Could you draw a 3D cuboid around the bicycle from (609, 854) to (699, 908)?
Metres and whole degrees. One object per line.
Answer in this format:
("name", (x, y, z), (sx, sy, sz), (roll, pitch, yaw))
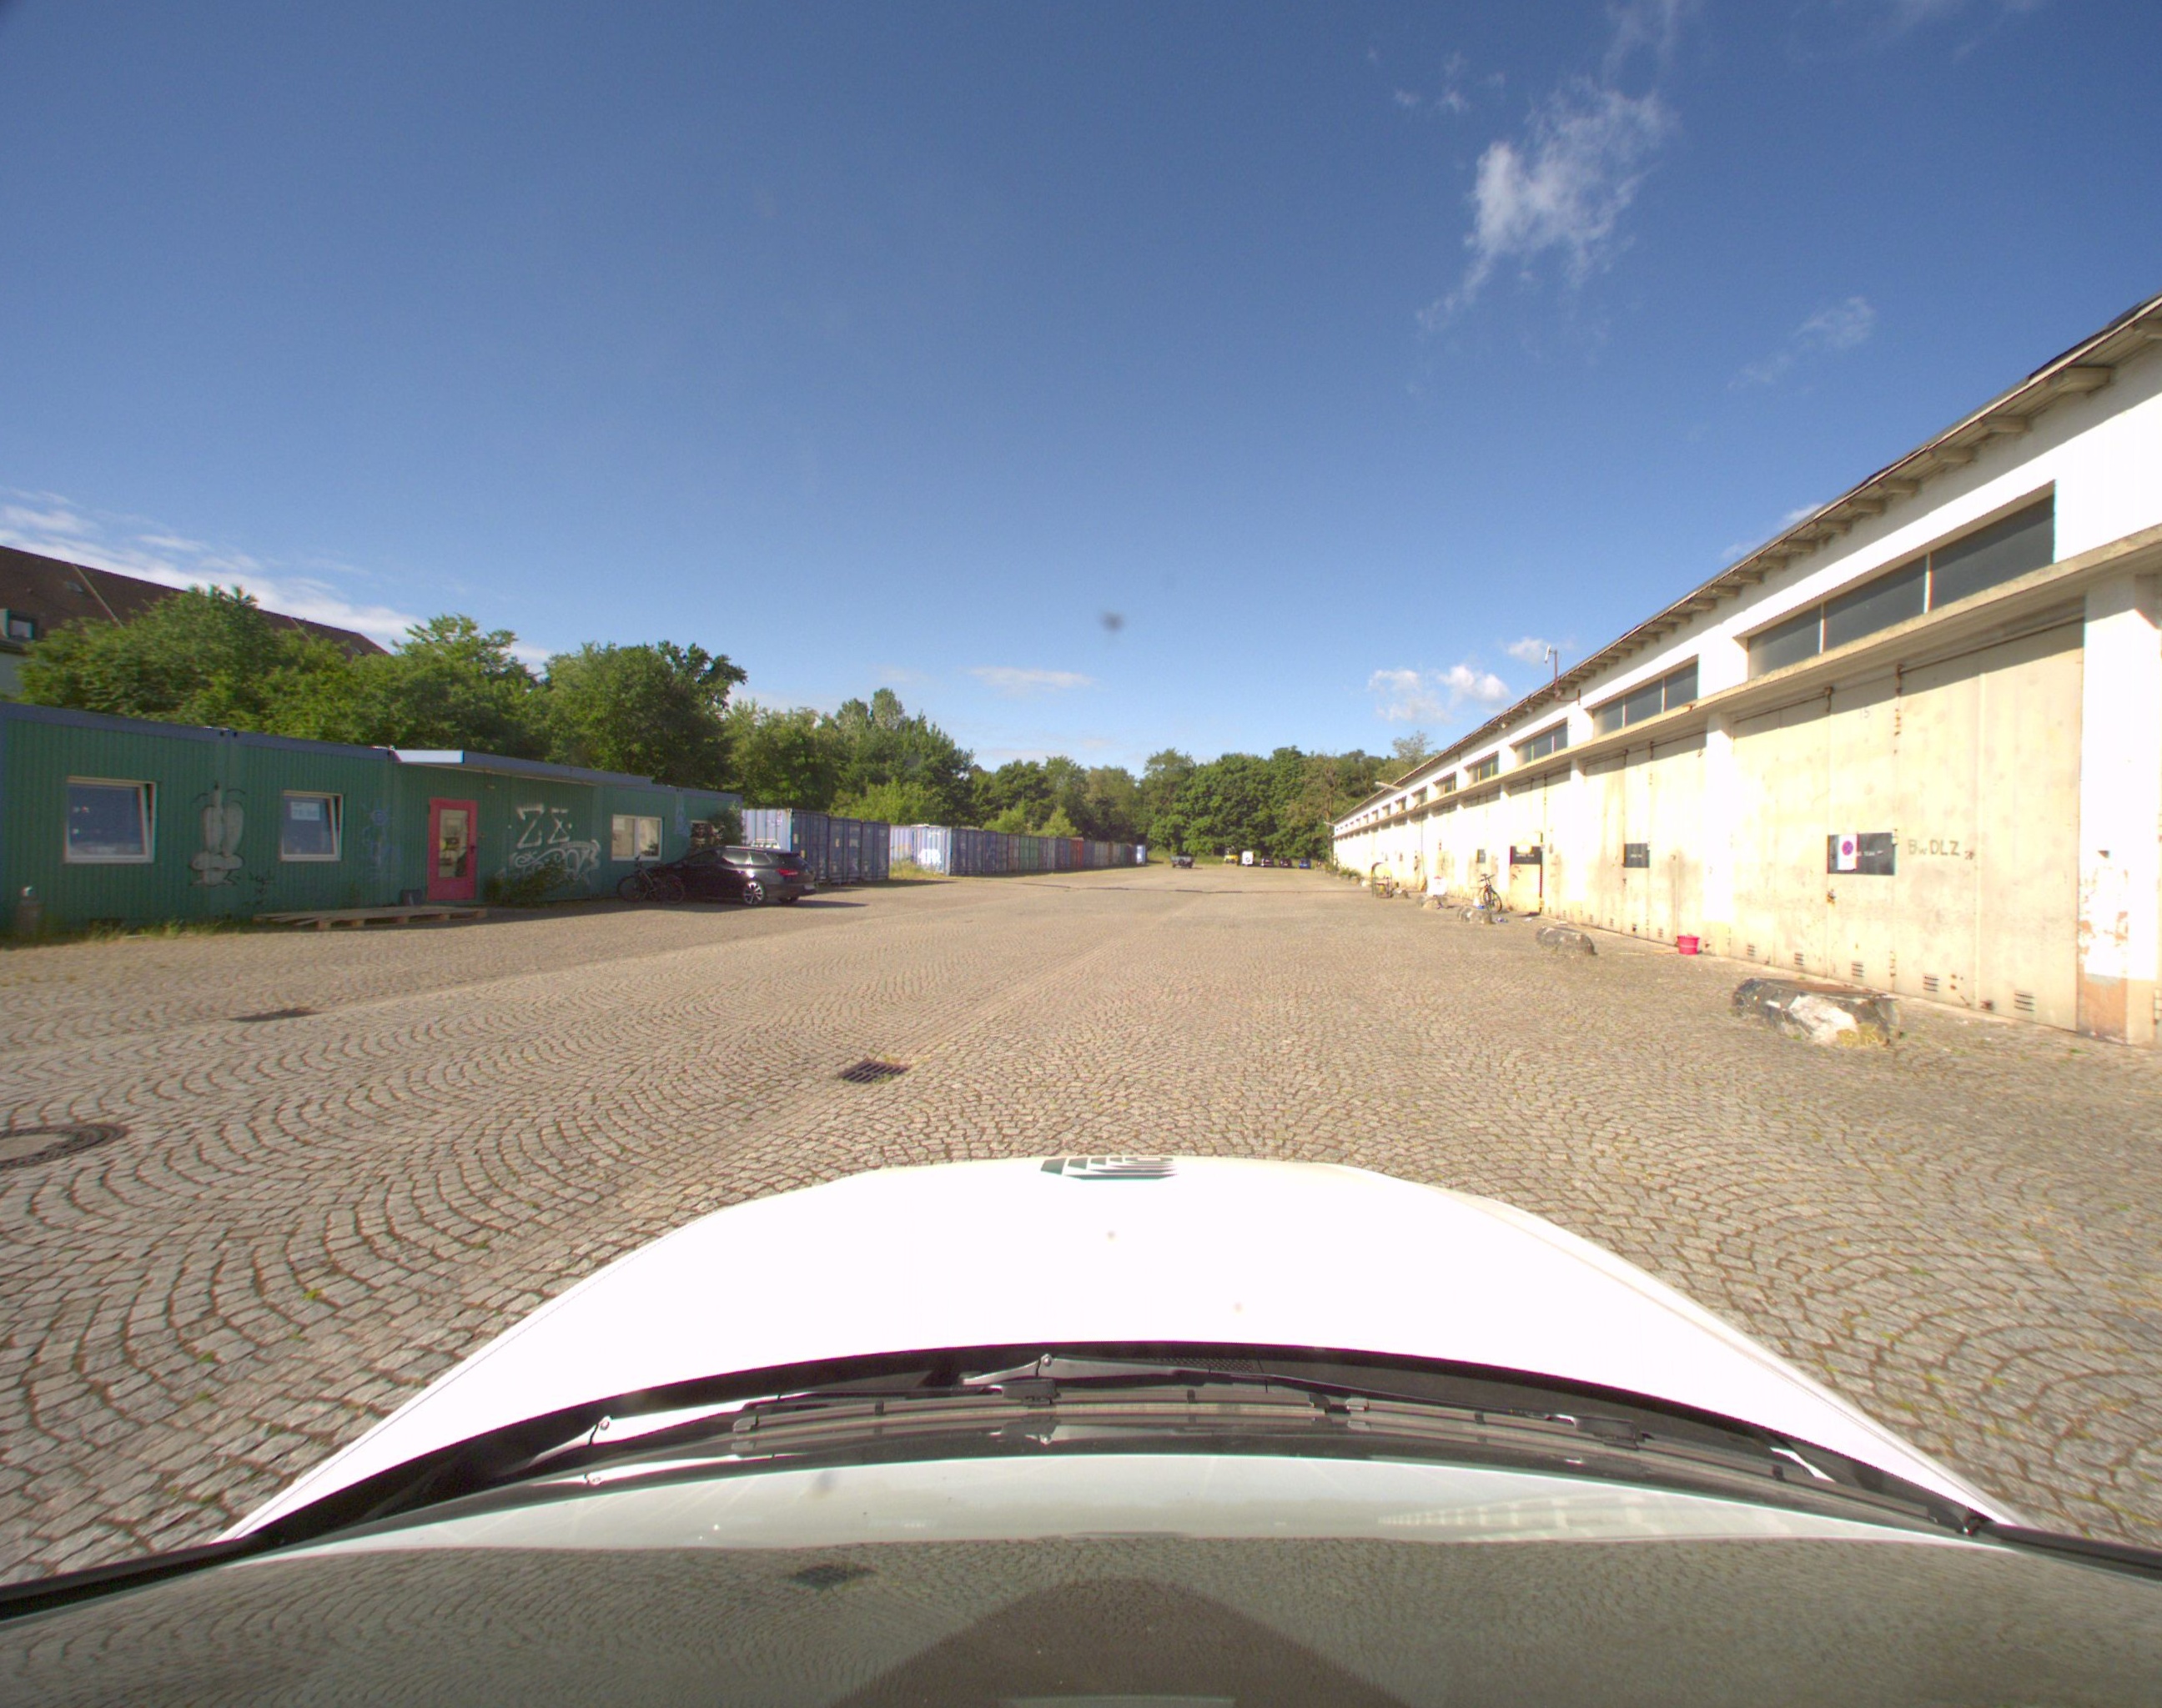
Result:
("bicycle", (-10.035, 0.627, 19.156), (1.792, 1.170, 0.670), (2, 0, 10))

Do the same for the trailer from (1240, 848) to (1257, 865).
("trailer", (23.908, 0.350, 116.246), (2.178, 2.094, 5.772), (2, 2, 13))

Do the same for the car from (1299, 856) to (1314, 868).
("car", (31.111, 1.040, 112.435), (1.730, 1.436, 4.203), (3, 2, 19))

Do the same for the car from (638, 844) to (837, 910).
("car", (-8.678, 0.551, 20.726), (4.224, 1.449, 1.937), (2, 0, 11))

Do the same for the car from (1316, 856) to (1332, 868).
("car", (33.816, 1.049, 113.257), (1.730, 1.436, 4.204), (3, 2, 20))

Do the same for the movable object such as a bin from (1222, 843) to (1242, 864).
("movable object such as a bin", (21.753, -0.089, 117.359), (2.290, 2.896, 5.774), (2, 2, 14))

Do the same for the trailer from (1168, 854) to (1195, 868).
("trailer", (12.199, 0.784, 98.262), (2.687, 1.465, 6.268), (2, 1, 12))

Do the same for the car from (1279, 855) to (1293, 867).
("car", (28.451, 0.912, 113.116), (1.851, 1.470, 4.312), (2, 2, 13))

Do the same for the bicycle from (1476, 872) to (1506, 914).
("bicycle", (11.261, 1.050, 22.419), (0.658, 1.068, 1.834), (2, 0, 25))

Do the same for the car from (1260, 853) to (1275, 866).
("car", (25.957, 0.781, 113.317), (1.851, 1.589, 4.312), (2, 2, 13))
